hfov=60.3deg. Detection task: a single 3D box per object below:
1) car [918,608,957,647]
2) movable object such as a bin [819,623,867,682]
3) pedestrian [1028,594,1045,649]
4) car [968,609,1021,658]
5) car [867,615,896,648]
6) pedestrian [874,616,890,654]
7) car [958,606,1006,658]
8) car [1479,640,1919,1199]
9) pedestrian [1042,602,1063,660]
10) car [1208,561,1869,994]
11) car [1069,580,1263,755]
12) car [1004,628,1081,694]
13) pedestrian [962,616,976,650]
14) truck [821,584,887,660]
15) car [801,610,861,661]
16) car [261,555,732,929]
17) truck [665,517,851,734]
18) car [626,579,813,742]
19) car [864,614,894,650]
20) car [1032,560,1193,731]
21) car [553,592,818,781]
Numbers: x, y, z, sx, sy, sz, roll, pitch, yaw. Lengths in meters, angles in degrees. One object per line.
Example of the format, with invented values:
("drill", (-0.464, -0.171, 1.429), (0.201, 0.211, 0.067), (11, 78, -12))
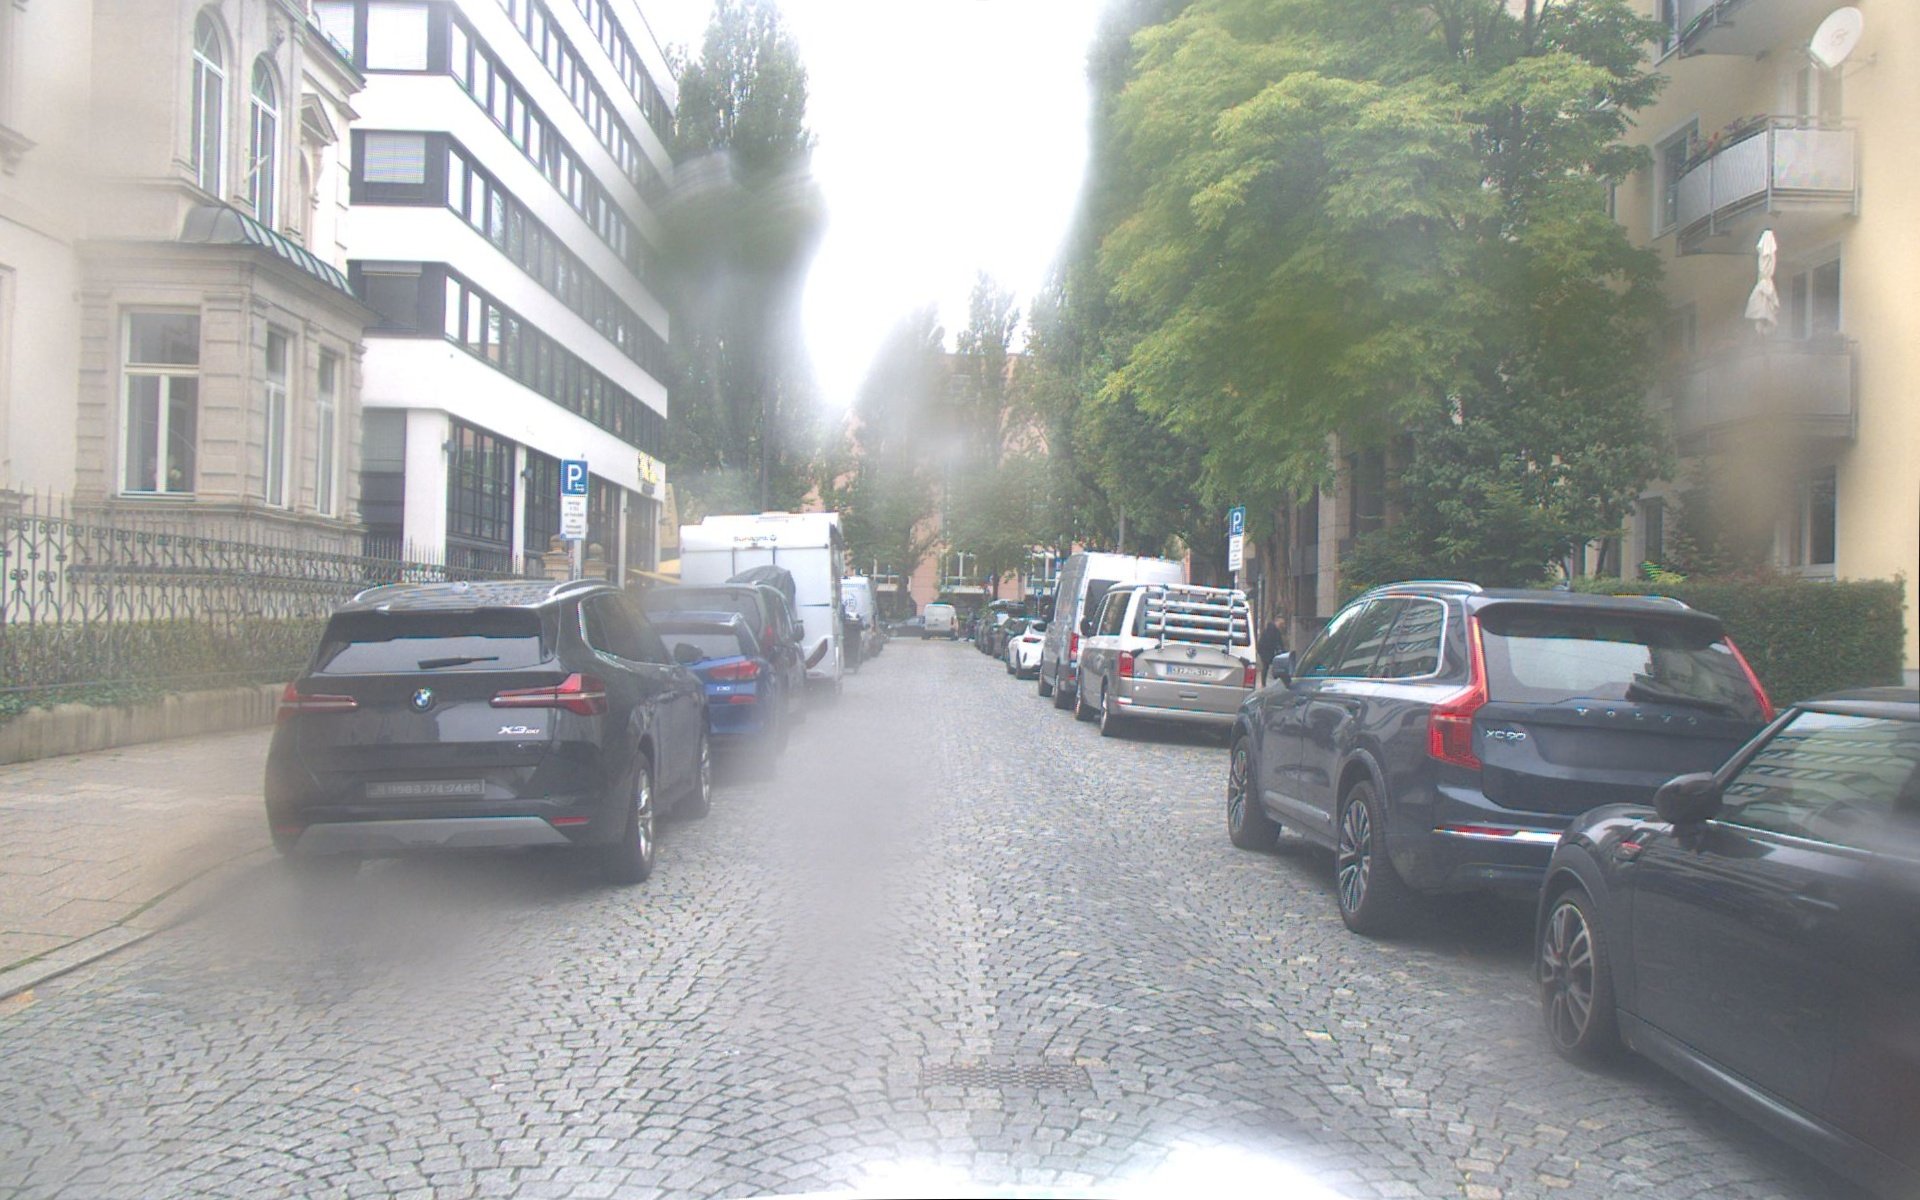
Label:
("car", (-1.150, 1.484, 87.914), (1.955, 1.970, 3.999), (2, -1, 0))
("movable object such as a bin", (-2.850, 1.281, 40.454), (1.042, 1.387, 1.289), (2, -1, -1))
("pedestrian", (3.472, 0.966, 74.893), (0.697, 2.468, 0.813), (-1, 1, 0))
("car", (1.214, 1.198, 59.394), (1.830, 1.633, 3.271), (2, -1, 0))
("car", (-3.847, 1.560, 81.313), (1.251, 1.568, 3.117), (2, -1, -1))
("pedestrian", (-3.984, 1.788, 84.767), (0.710, 1.944, 0.641), (2, -1, 0))
("car", (0.878, 1.310, 67.297), (1.830, 1.995, 3.999), (2, -1, 0))
("car", (3.055, 0.921, 4.853), (1.649, 1.478, 3.964), (4, -1, -2))
("pedestrian", (3.635, 1.221, 65.031), (0.697, 2.230, 0.813), (2, -1, 0))
("car", (2.863, 0.811, 9.564), (1.923, 1.790, 4.952), (2, -1, -2))
("car", (2.667, 0.866, 22.519), (1.764, 1.983, 4.858), (4, -1, -2))
("car", (1.991, 1.474, 40.777), (1.567, 1.512, 3.477), (2, -1, -2))
("pedestrian", (0.468, 1.698, 85.157), (0.673, 1.716, 0.500), (2, -1, 3))
("truck", (-3.543, 0.758, 55.815), (1.953, 2.388, 4.066), (2, -1, -1))
("car", (-3.998, 1.111, 51.759), (1.628, 1.481, 3.546), (2, -1, -1))
("car", (-2.541, 0.732, 10.205), (1.738, 1.748, 4.389), (2, -1, -2))
("truck", (-3.082, 0.370, 26.746), (2.458, 3.085, 6.381), (0, 0, -2))
("car", (-2.838, 0.686, 20.377), (1.856, 1.781, 4.165), (1, -1, -3))
("car", (-3.733, 1.472, 76.347), (1.264, 1.567, 3.117), (2, -1, -1))
("car", (2.469, 0.711, 28.275), (1.857, 2.468, 5.608), (5, 0, -2))
("car", (-2.419, 0.750, 15.577), (1.901, 1.485, 4.056), (2, -1, -2))
